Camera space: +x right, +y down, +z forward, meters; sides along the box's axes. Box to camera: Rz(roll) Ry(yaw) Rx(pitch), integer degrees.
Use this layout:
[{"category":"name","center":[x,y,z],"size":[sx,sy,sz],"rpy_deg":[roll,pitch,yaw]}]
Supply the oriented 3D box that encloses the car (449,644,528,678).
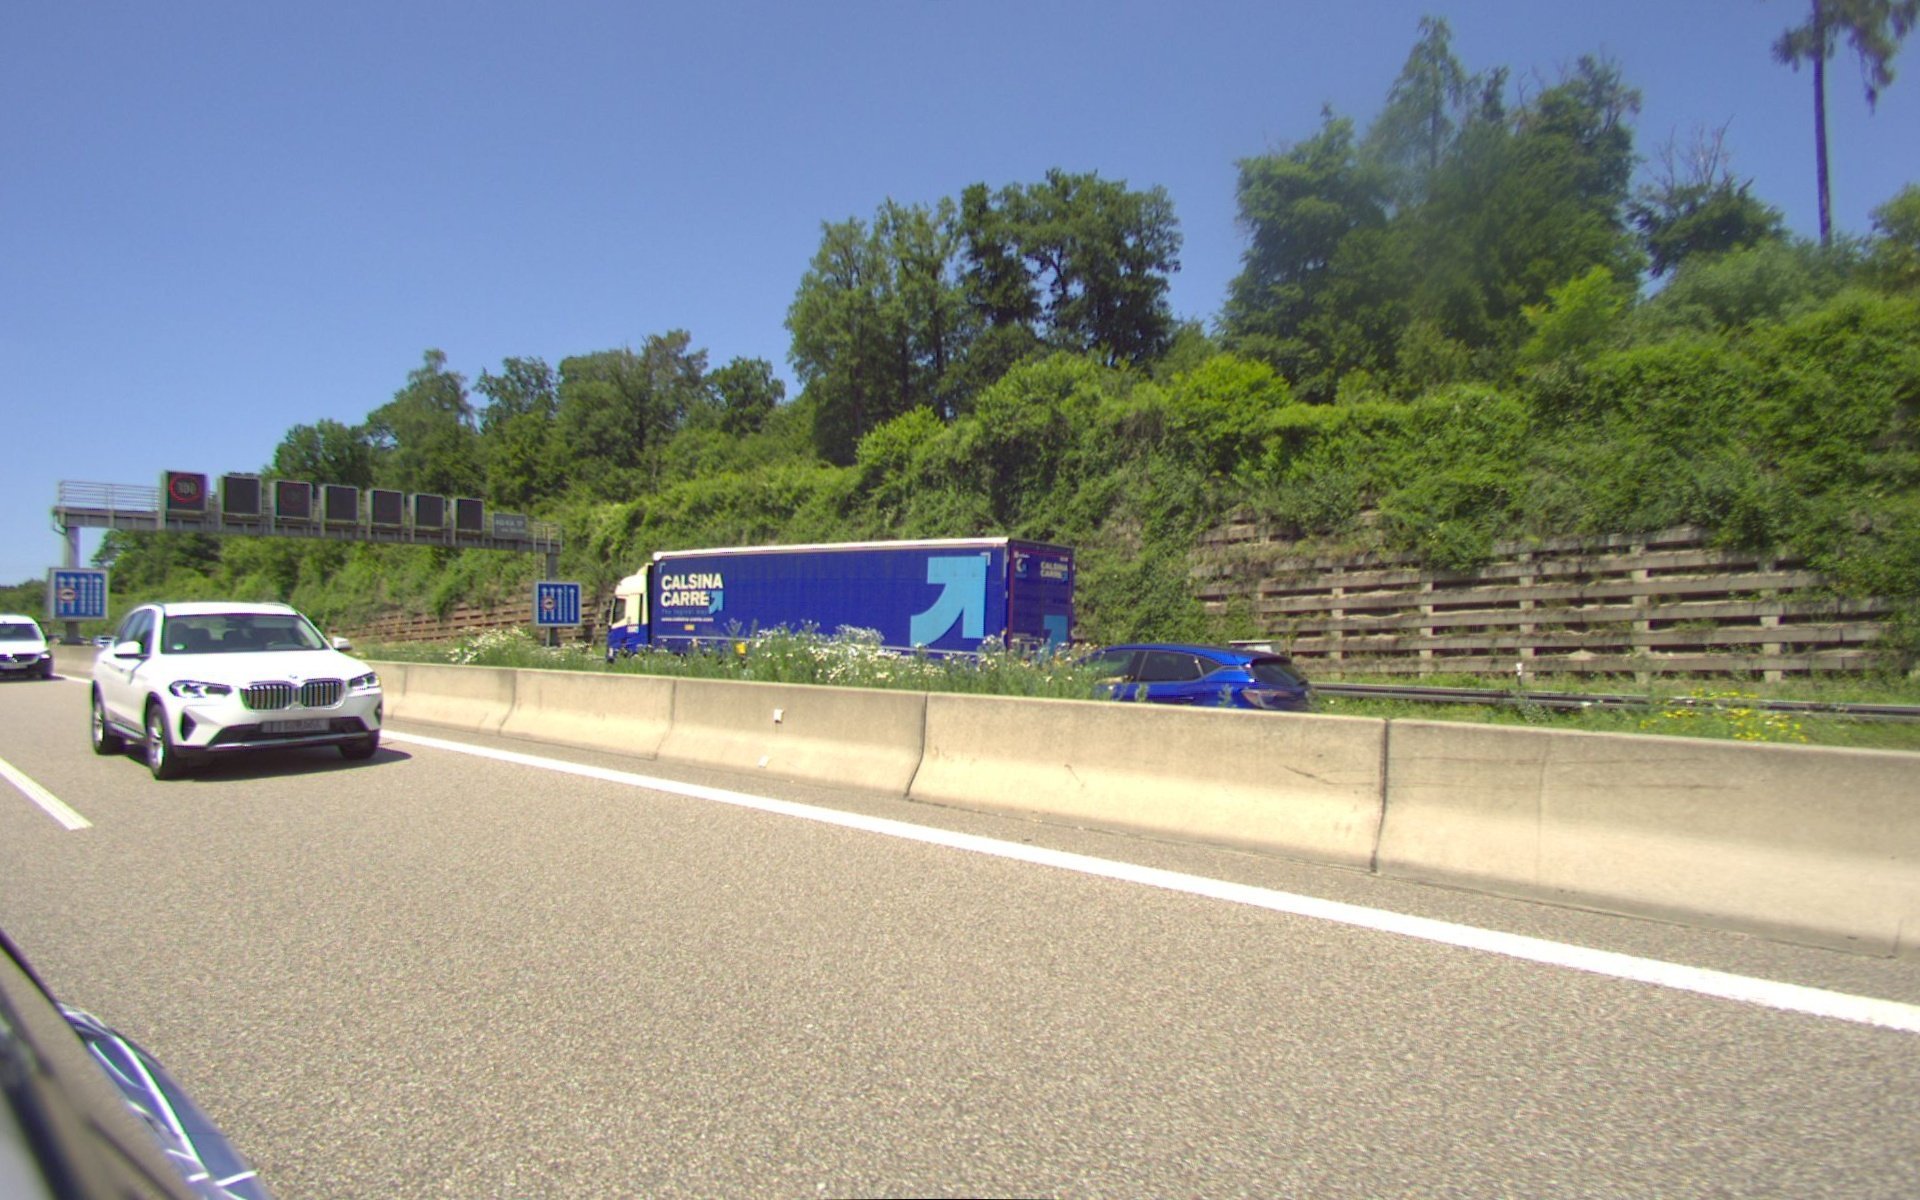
[{"category":"car","center":[-22.397,2.888,48.004],"size":[4.370,1.537,1.766],"rpy_deg":[-3,-4,41]}]

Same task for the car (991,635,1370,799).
[{"category":"car","center":[2.376,1.188,11.495],"size":[3.883,1.464,1.640],"rpy_deg":[-2,0,42]}]

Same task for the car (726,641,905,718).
[{"category":"car","center":[-3.057,1.584,20.997],"size":[3.710,1.386,1.640],"rpy_deg":[-2,0,42]}]

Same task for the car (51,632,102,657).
[{"category":"car","center":[-56.153,2.838,64.299],"size":[4.371,1.537,1.878],"rpy_deg":[-3,-4,42]}]

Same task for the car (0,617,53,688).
[{"category":"car","center":[-26.613,1.451,27.878],"size":[4.500,1.788,1.972],"rpy_deg":[-2,0,42]}]

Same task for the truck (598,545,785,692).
[{"category":"truck","center":[-8.289,0.625,30.879],"size":[5.927,4.061,2.652],"rpy_deg":[-2,-2,41]}]

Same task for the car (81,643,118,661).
[{"category":"car","center":[-76.026,4.613,89.445],"size":[4.371,1.537,1.878],"rpy_deg":[-3,-4,42]}]

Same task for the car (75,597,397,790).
[{"category":"car","center":[-7.886,0.882,10.851],"size":[4.365,1.656,1.826],"rpy_deg":[-3,-2,41]}]

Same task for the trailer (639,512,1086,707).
[{"category":"trailer","center":[-3.379,0.427,26.644],"size":[14.179,4.046,2.652],"rpy_deg":[-2,-2,41]}]

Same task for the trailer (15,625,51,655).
[{"category":"trailer","center":[-138.814,6.046,151.461],"size":[14.467,4.239,2.945],"rpy_deg":[-3,-5,44]}]
